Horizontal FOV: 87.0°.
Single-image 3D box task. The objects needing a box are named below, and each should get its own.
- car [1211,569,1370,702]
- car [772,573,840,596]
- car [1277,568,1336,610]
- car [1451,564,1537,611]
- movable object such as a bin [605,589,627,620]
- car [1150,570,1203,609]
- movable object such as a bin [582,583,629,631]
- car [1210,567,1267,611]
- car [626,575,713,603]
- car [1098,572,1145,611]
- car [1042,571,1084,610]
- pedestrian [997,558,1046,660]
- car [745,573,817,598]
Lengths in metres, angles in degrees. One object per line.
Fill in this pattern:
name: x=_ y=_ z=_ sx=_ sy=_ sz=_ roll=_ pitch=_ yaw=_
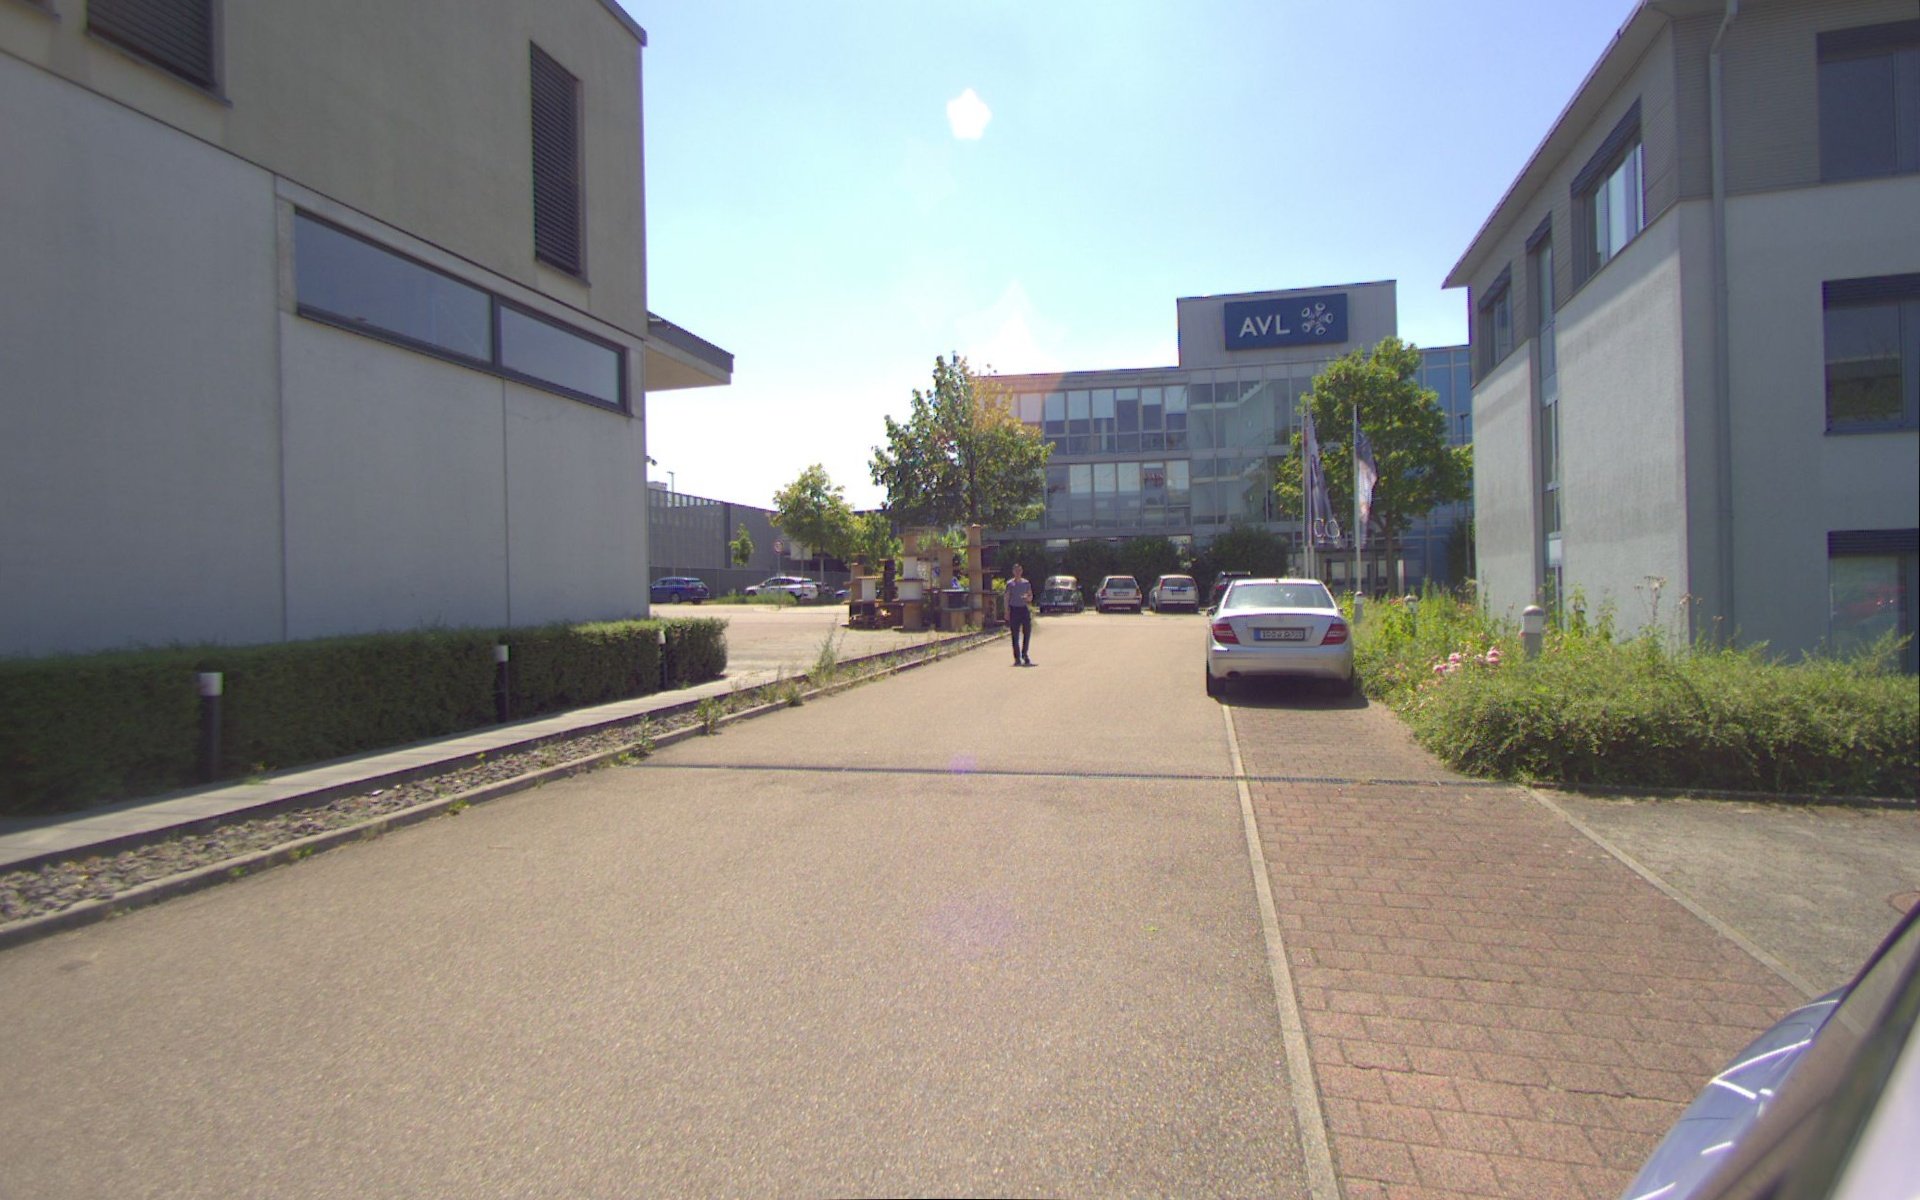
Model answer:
car: x=4.290 y=0.339 z=13.465 sx=1.710 sy=1.475 sz=4.128 roll=0 pitch=1 yaw=16
car: x=-10.038 y=-1.014 z=65.963 sx=4.251 sy=1.494 sz=1.763 roll=0 pitch=1 yaw=30
car: x=13.407 y=-0.456 z=39.376 sx=1.705 sy=1.503 sz=4.381 roll=-1 pitch=1 yaw=13
car: x=19.896 y=-0.493 z=37.893 sx=1.805 sy=1.657 sz=4.157 roll=0 pitch=1 yaw=12
movable object such as a bin: x=-10.859 y=0.134 z=31.987 sx=0.573 sy=0.929 sz=0.549 roll=-1 pitch=2 yaw=-11
car: x=8.677 y=-0.446 z=40.785 sx=1.702 sy=1.470 sz=3.596 roll=0 pitch=2 yaw=6
movable object such as a bin: x=-9.606 y=0.181 z=27.427 sx=0.866 sy=1.265 sz=0.796 roll=0 pitch=2 yaw=22
car: x=10.990 y=-0.489 z=40.178 sx=1.909 sy=1.622 sz=3.848 roll=0 pitch=2 yaw=11
car: x=-15.656 y=-0.570 z=54.489 sx=4.402 sy=1.427 sz=1.843 roll=0 pitch=1 yaw=27
car: x=6.451 y=-0.390 z=40.681 sx=1.614 sy=1.470 sz=3.596 roll=0 pitch=2 yaw=6
car: x=4.219 y=-0.411 z=41.030 sx=1.498 sy=1.463 sz=3.411 roll=0 pitch=2 yaw=9
pedestrian: x=1.103 y=0.141 z=18.254 sx=0.793 sy=1.790 sz=0.769 roll=-1 pitch=2 yaw=-1
car: x=-11.184 y=-0.905 z=63.206 sx=4.376 sy=1.494 sz=1.763 roll=0 pitch=1 yaw=30
